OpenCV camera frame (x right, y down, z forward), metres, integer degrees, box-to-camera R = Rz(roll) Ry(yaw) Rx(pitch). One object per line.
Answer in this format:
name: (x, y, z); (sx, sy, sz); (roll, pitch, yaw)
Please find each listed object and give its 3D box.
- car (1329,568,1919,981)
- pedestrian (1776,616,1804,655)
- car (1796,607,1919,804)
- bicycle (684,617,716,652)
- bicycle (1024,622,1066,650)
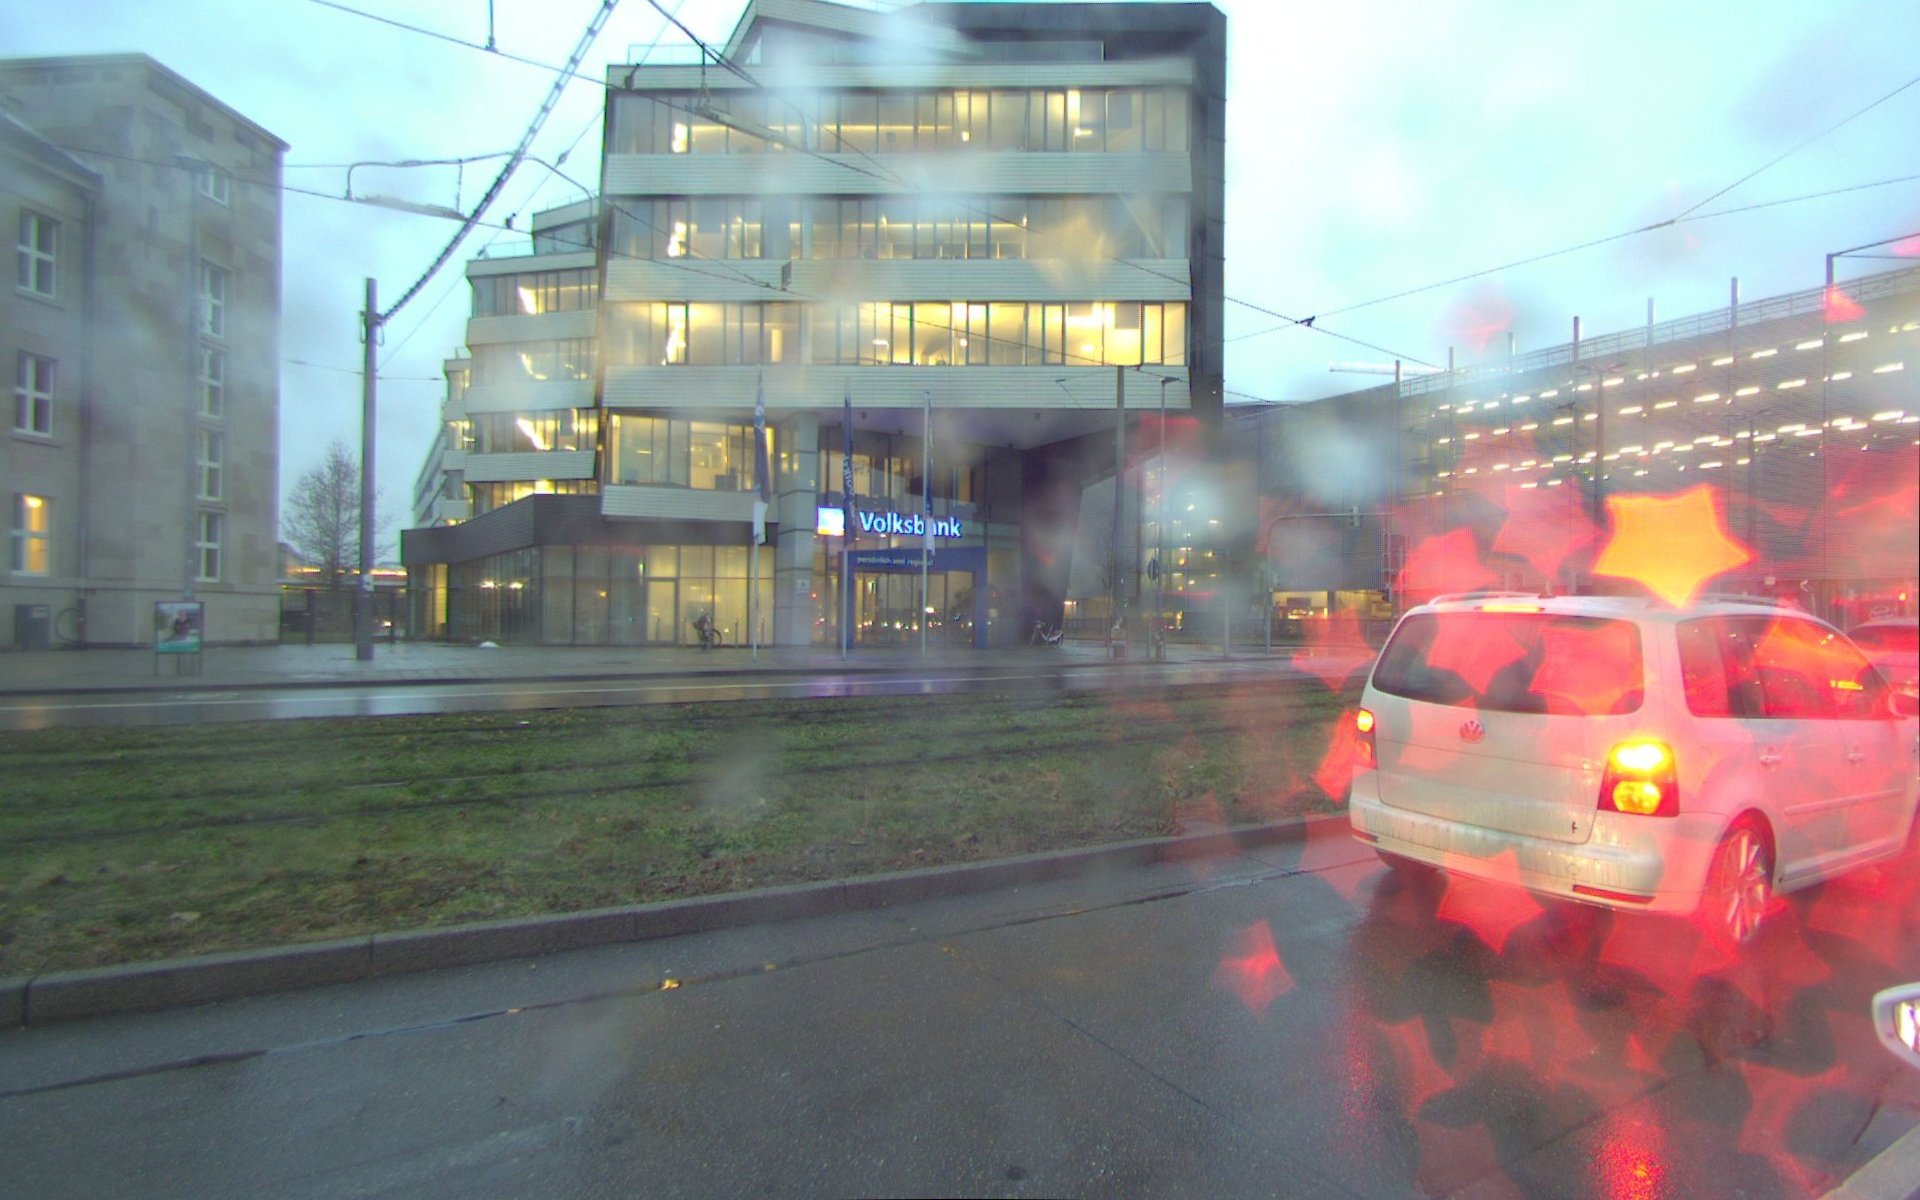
car: (4.155, 0.732, 5.799); (4.177, 1.620, 1.662); (1, -1, -33)
pedestrian: (53.796, 2.307, 65.117); (0.955, 2.471, 1.105); (2, 0, -30)
car: (9.542, 0.891, 9.297); (4.320, 1.591, 1.808); (1, -1, -36)
bicycle: (-8.816, 1.159, 34.076); (0.518, 1.142, 1.498); (0, -1, 6)
bicycle: (3.401, 1.427, 40.067); (1.582, 1.084, 0.637); (0, -1, -31)
